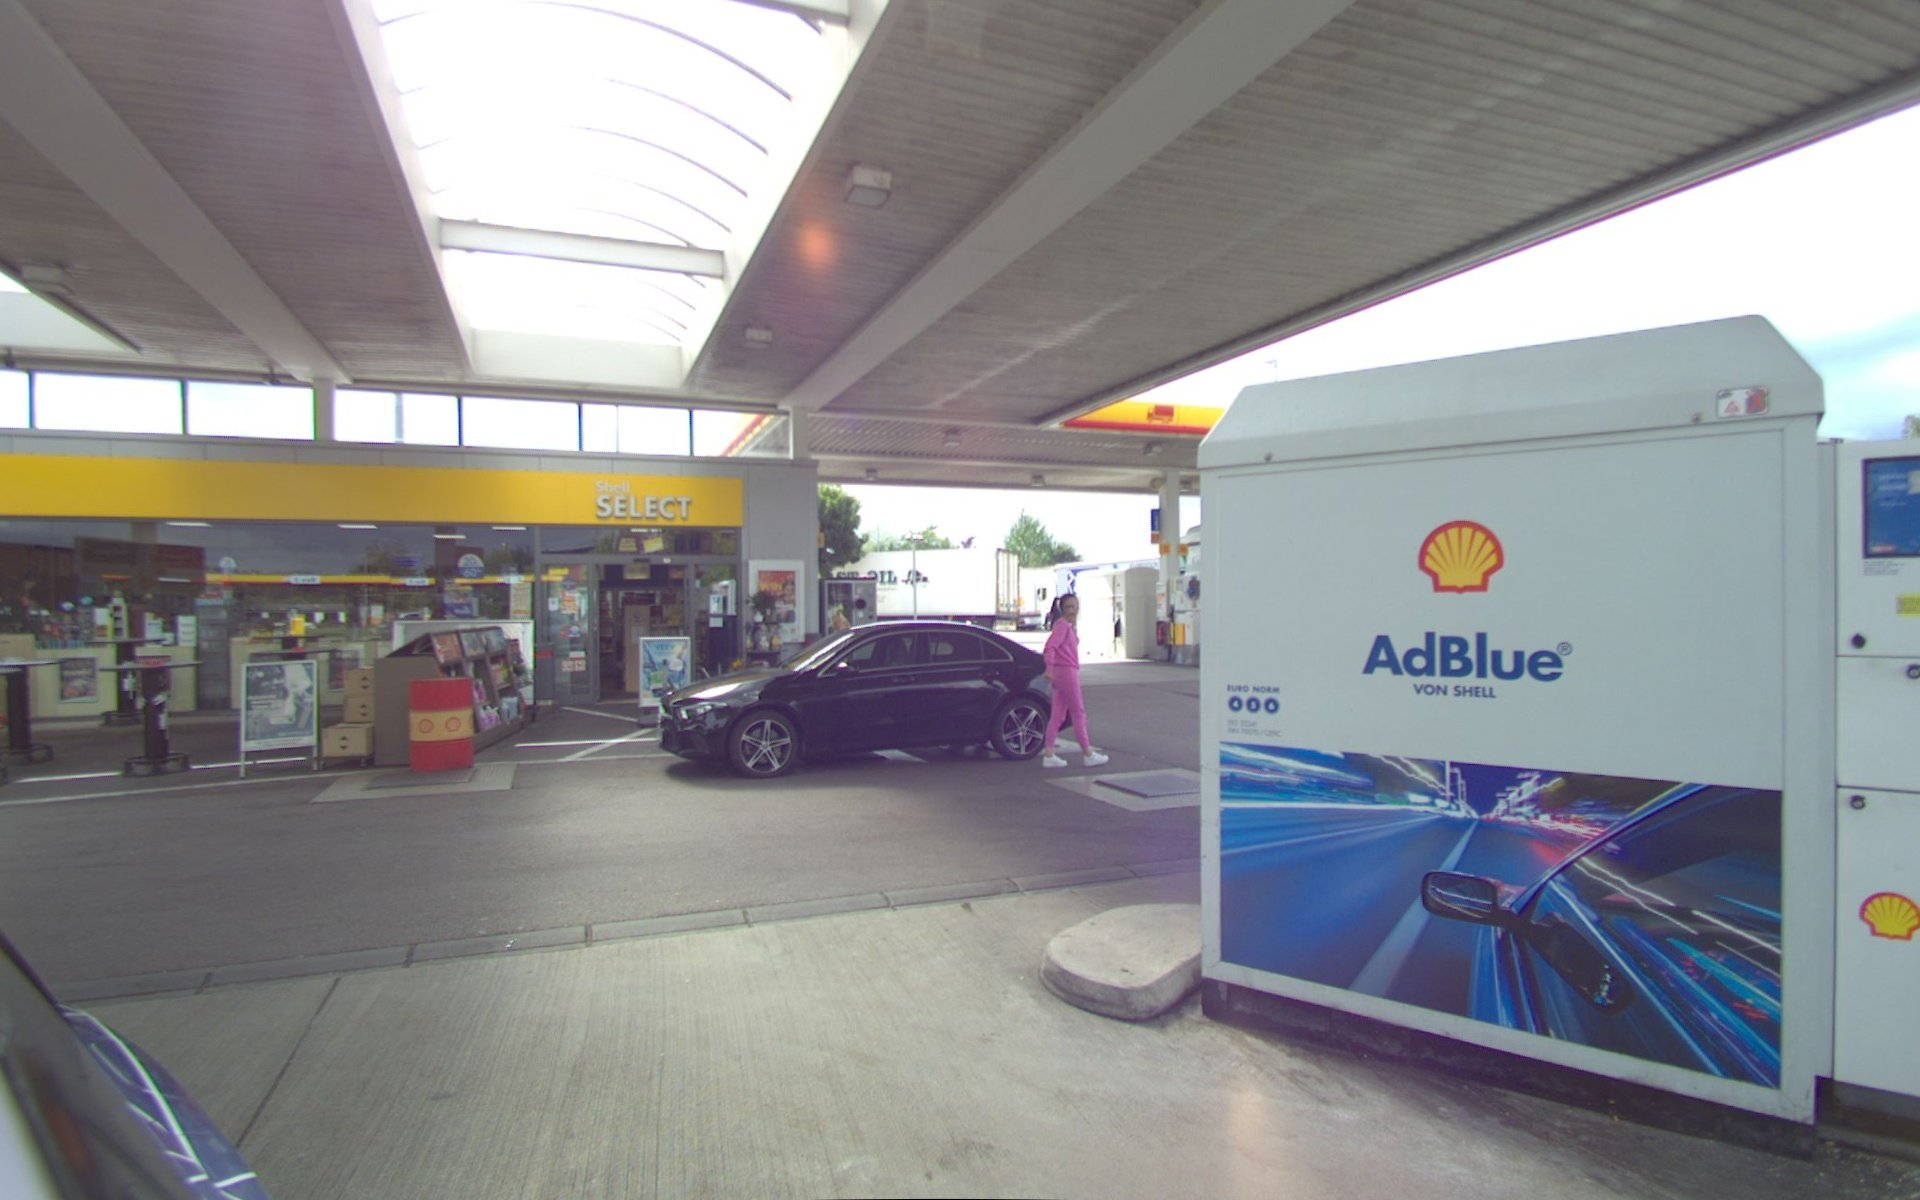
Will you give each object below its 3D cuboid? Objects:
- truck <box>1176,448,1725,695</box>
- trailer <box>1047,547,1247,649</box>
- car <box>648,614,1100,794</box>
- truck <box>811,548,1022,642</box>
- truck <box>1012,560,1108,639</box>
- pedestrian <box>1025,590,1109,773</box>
[{"bbox_3d":[9.669,-0.453,23.085,2.491,4.069,12.947,-1,0,-22],"label":"truck"},{"bbox_3d":[9.118,-0.083,52.656,3.294,4.600,14.397,-1,0,-20],"label":"trailer"},{"bbox_3d":[-0.910,0.948,10.662,4.394,1.511,1.785,-1,0,-21],"label":"car"},{"bbox_3d":[-2.090,-0.168,46.823,9.536,4.036,2.772,-1,0,25],"label":"truck"},{"bbox_3d":[5.941,-0.031,61.205,3.333,4.538,6.249,-1,0,-20],"label":"truck"},{"bbox_3d":[1.043,0.773,9.966,0.612,1.726,0.629,-1,0,-14],"label":"pedestrian"}]
